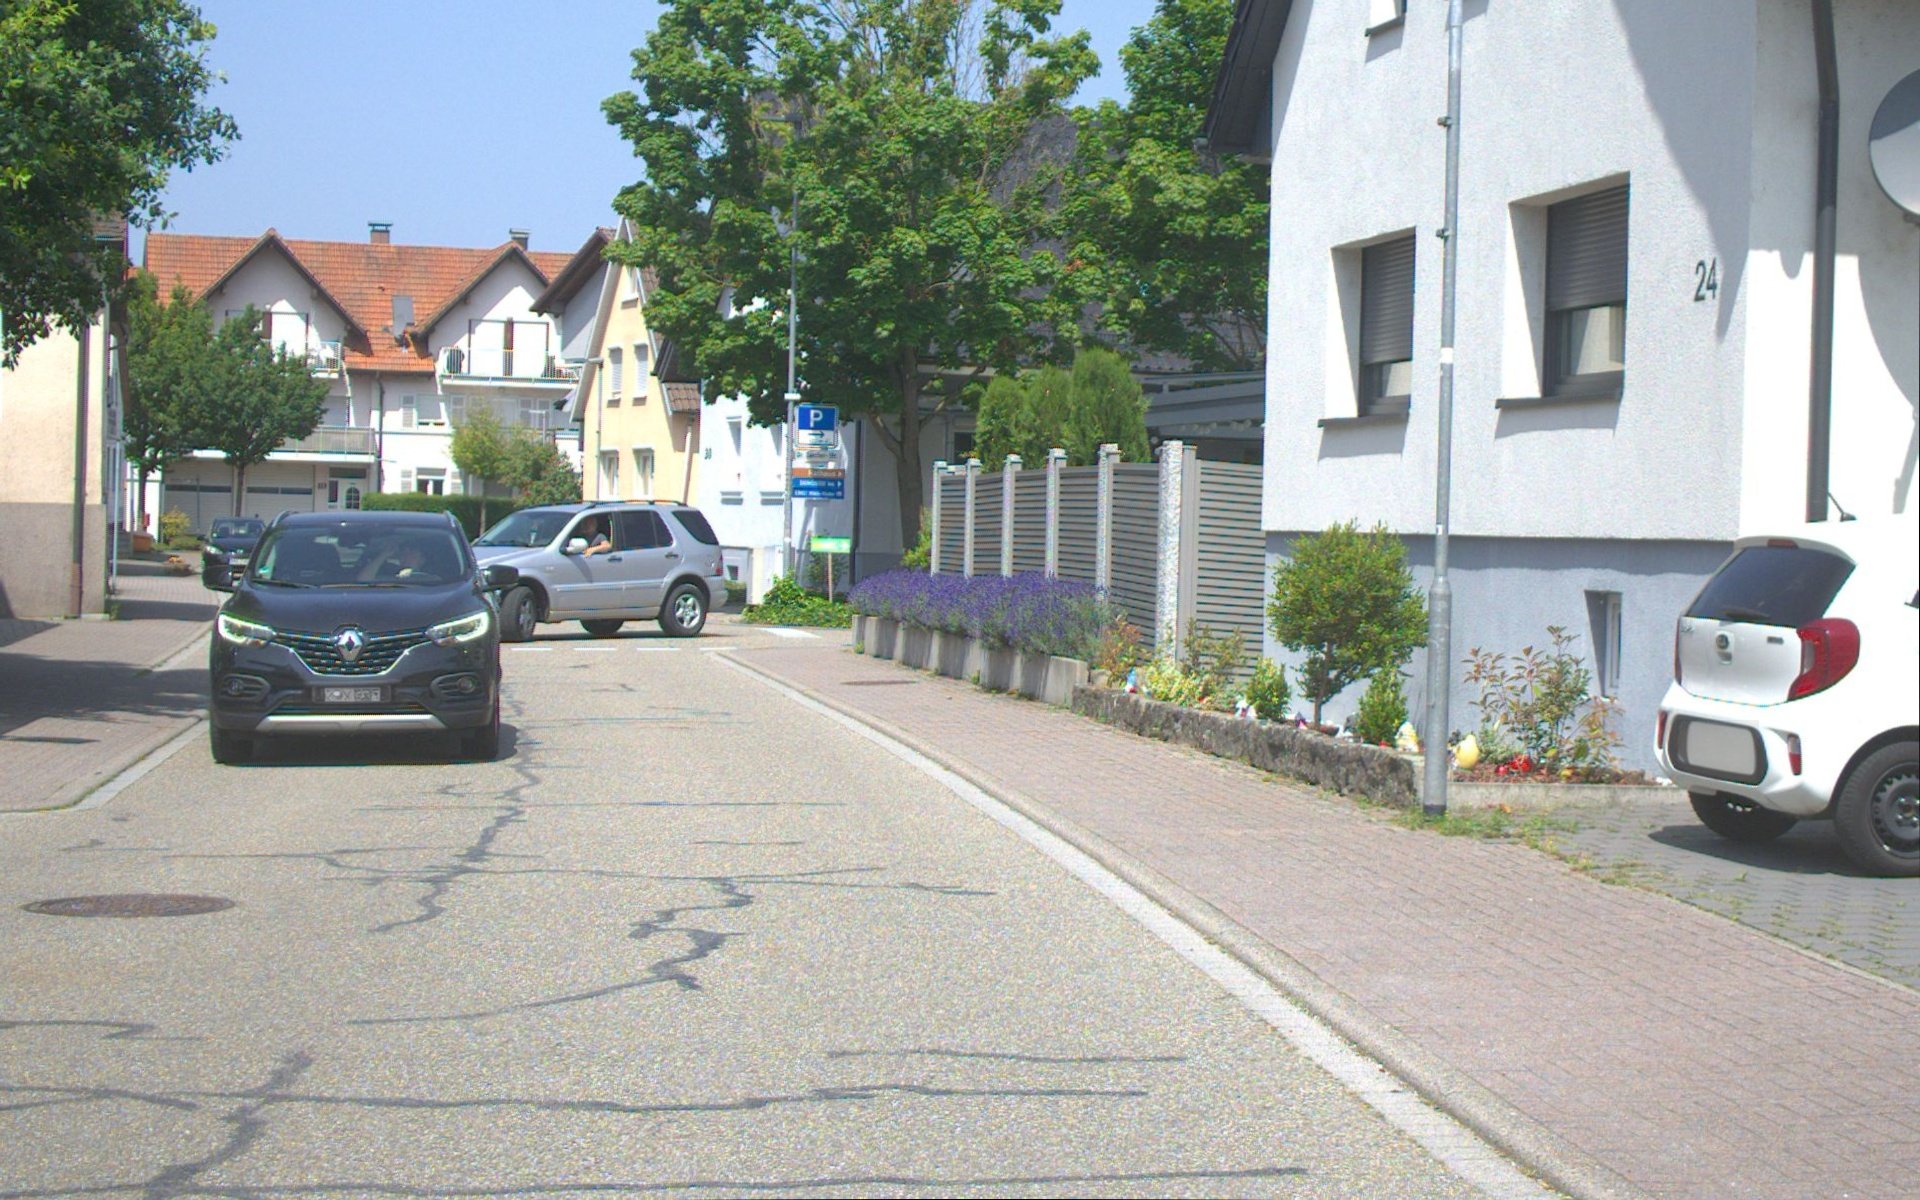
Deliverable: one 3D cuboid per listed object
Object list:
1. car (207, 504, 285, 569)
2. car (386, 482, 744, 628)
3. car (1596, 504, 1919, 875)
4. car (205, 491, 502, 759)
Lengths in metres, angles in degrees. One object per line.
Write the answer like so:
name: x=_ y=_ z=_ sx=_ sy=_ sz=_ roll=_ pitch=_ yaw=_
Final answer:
car: x=-17.010 y=-1.525 z=81.841 sx=1.626 sy=1.481 sz=4.002 roll=0 pitch=2 yaw=-14
car: x=-5.055 y=-0.593 z=44.390 sx=1.891 sy=1.761 sz=4.319 roll=4 pitch=3 yaw=45
car: x=4.867 y=0.322 z=15.137 sx=3.656 sy=1.469 sz=1.766 roll=-1 pitch=2 yaw=-13
car: x=-4.000 y=0.102 z=23.094 sx=1.775 sy=1.618 sz=4.106 roll=-1 pitch=1 yaw=-8
